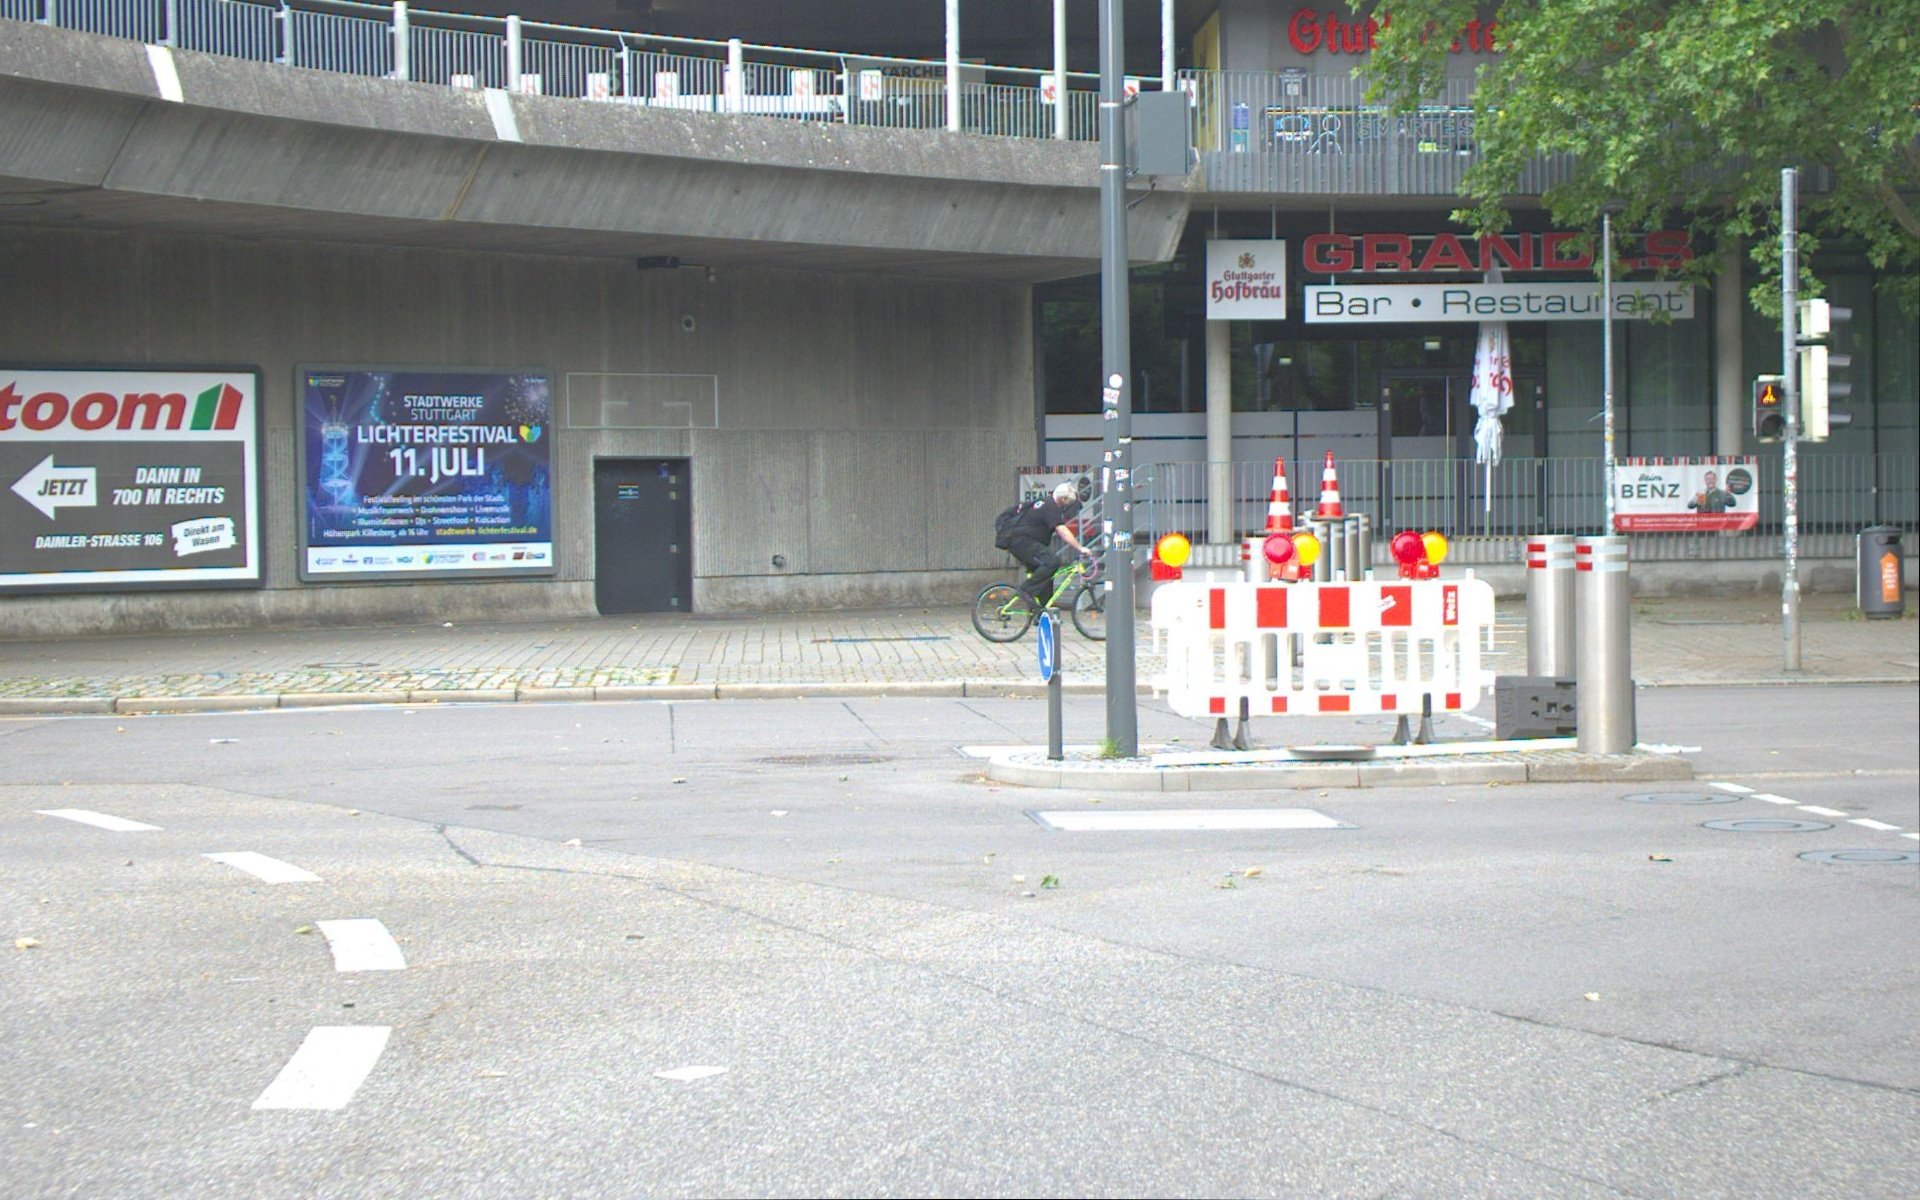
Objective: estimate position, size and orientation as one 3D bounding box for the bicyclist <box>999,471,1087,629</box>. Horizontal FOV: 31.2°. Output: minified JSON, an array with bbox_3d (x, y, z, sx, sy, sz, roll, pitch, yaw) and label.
[{"bbox_3d":[0.903,-0.539,37.492,0.851,1.692,0.767,1,0,-5],"label":"bicyclist"}]

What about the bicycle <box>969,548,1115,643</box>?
[{"bbox_3d":[0.896,-0.054,37.569,1.532,1.009,0.517,1,0,-5],"label":"bicycle"}]
